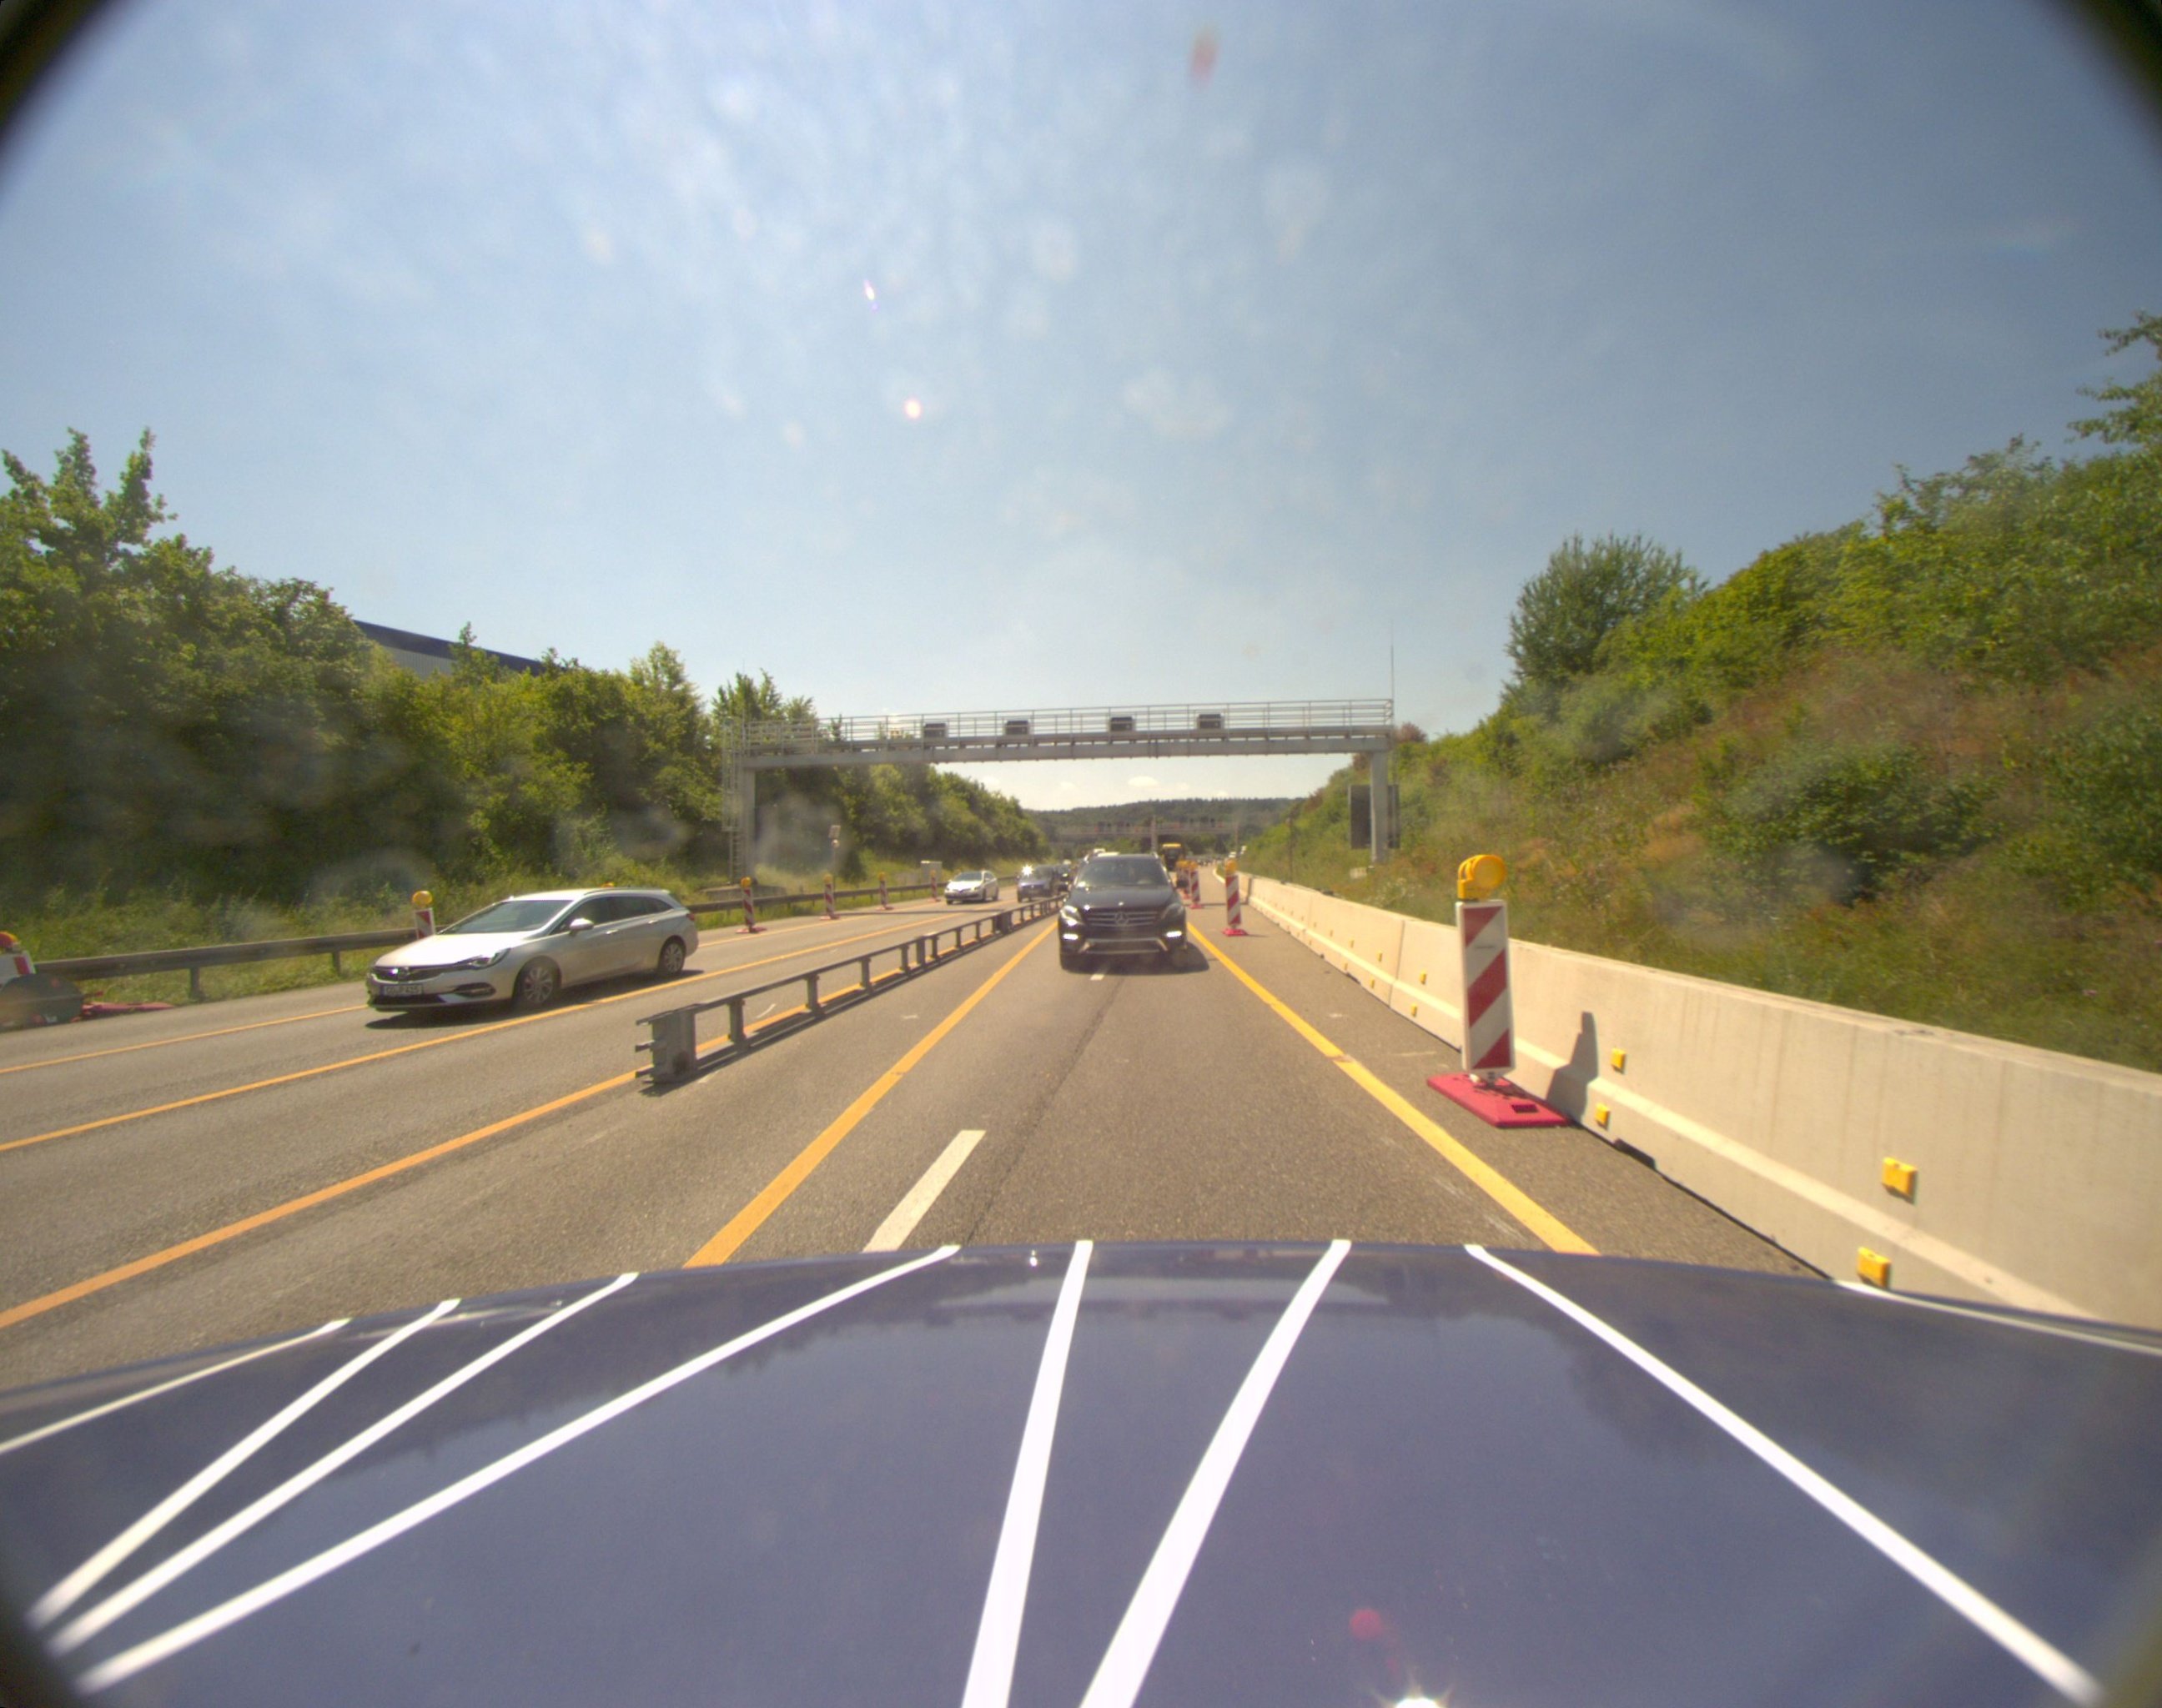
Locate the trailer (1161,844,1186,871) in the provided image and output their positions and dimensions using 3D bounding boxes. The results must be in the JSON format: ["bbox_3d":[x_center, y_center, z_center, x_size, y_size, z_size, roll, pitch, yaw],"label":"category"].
[{"bbox_3d":[13.627,0.643,110.293,3.235,3.645,17.436,-2,-1,8],"label":"trailer"}]

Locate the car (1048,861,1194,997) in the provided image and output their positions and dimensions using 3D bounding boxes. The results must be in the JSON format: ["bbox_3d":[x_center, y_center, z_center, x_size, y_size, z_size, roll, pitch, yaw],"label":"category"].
[{"bbox_3d":[0.646,0.977,11.930,1.819,1.685,4.495,-2,0,3],"label":"car"}]

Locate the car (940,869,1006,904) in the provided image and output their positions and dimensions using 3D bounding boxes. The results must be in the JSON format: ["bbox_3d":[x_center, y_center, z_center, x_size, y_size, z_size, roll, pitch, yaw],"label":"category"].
[{"bbox_3d":[-4.997,1.475,35.834,1.818,1.456,4.655,-2,0,7],"label":"car"}]

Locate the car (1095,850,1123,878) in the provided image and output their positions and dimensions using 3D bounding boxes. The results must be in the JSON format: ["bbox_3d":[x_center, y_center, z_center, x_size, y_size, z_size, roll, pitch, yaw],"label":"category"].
[{"bbox_3d":[2.708,0.944,71.435,2.270,2.521,6.587,-1,0,5],"label":"car"}]

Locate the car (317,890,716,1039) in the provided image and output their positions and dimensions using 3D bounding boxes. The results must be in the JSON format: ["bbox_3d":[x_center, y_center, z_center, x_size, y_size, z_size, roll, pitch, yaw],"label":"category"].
[{"bbox_3d":[-7.507,1.366,10.876,1.818,1.456,4.655,-2,0,7],"label":"car"}]

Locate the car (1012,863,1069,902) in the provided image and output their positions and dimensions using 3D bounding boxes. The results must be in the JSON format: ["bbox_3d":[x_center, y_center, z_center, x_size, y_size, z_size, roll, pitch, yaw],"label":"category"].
[{"bbox_3d":[-1.829,1.291,35.681,1.818,1.632,4.655,-2,0,7],"label":"car"}]

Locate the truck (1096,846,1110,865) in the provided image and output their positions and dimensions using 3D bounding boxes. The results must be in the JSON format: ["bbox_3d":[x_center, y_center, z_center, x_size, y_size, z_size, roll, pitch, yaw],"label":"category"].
[{"bbox_3d":[4.689,0.355,161.334,2.532,3.927,5.602,-2,-1,7],"label":"truck"}]

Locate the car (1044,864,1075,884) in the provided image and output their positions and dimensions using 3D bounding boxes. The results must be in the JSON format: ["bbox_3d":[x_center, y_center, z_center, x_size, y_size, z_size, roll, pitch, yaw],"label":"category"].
[{"bbox_3d":[-1.762,1.673,64.810,2.023,1.652,5.239,-1,-1,5],"label":"car"}]

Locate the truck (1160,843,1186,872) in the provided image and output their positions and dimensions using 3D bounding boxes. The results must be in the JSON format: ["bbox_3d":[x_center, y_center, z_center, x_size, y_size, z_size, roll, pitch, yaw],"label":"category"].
[{"bbox_3d":[12.438,0.470,101.888,3.227,3.638,7.089,-2,-1,8],"label":"truck"}]
